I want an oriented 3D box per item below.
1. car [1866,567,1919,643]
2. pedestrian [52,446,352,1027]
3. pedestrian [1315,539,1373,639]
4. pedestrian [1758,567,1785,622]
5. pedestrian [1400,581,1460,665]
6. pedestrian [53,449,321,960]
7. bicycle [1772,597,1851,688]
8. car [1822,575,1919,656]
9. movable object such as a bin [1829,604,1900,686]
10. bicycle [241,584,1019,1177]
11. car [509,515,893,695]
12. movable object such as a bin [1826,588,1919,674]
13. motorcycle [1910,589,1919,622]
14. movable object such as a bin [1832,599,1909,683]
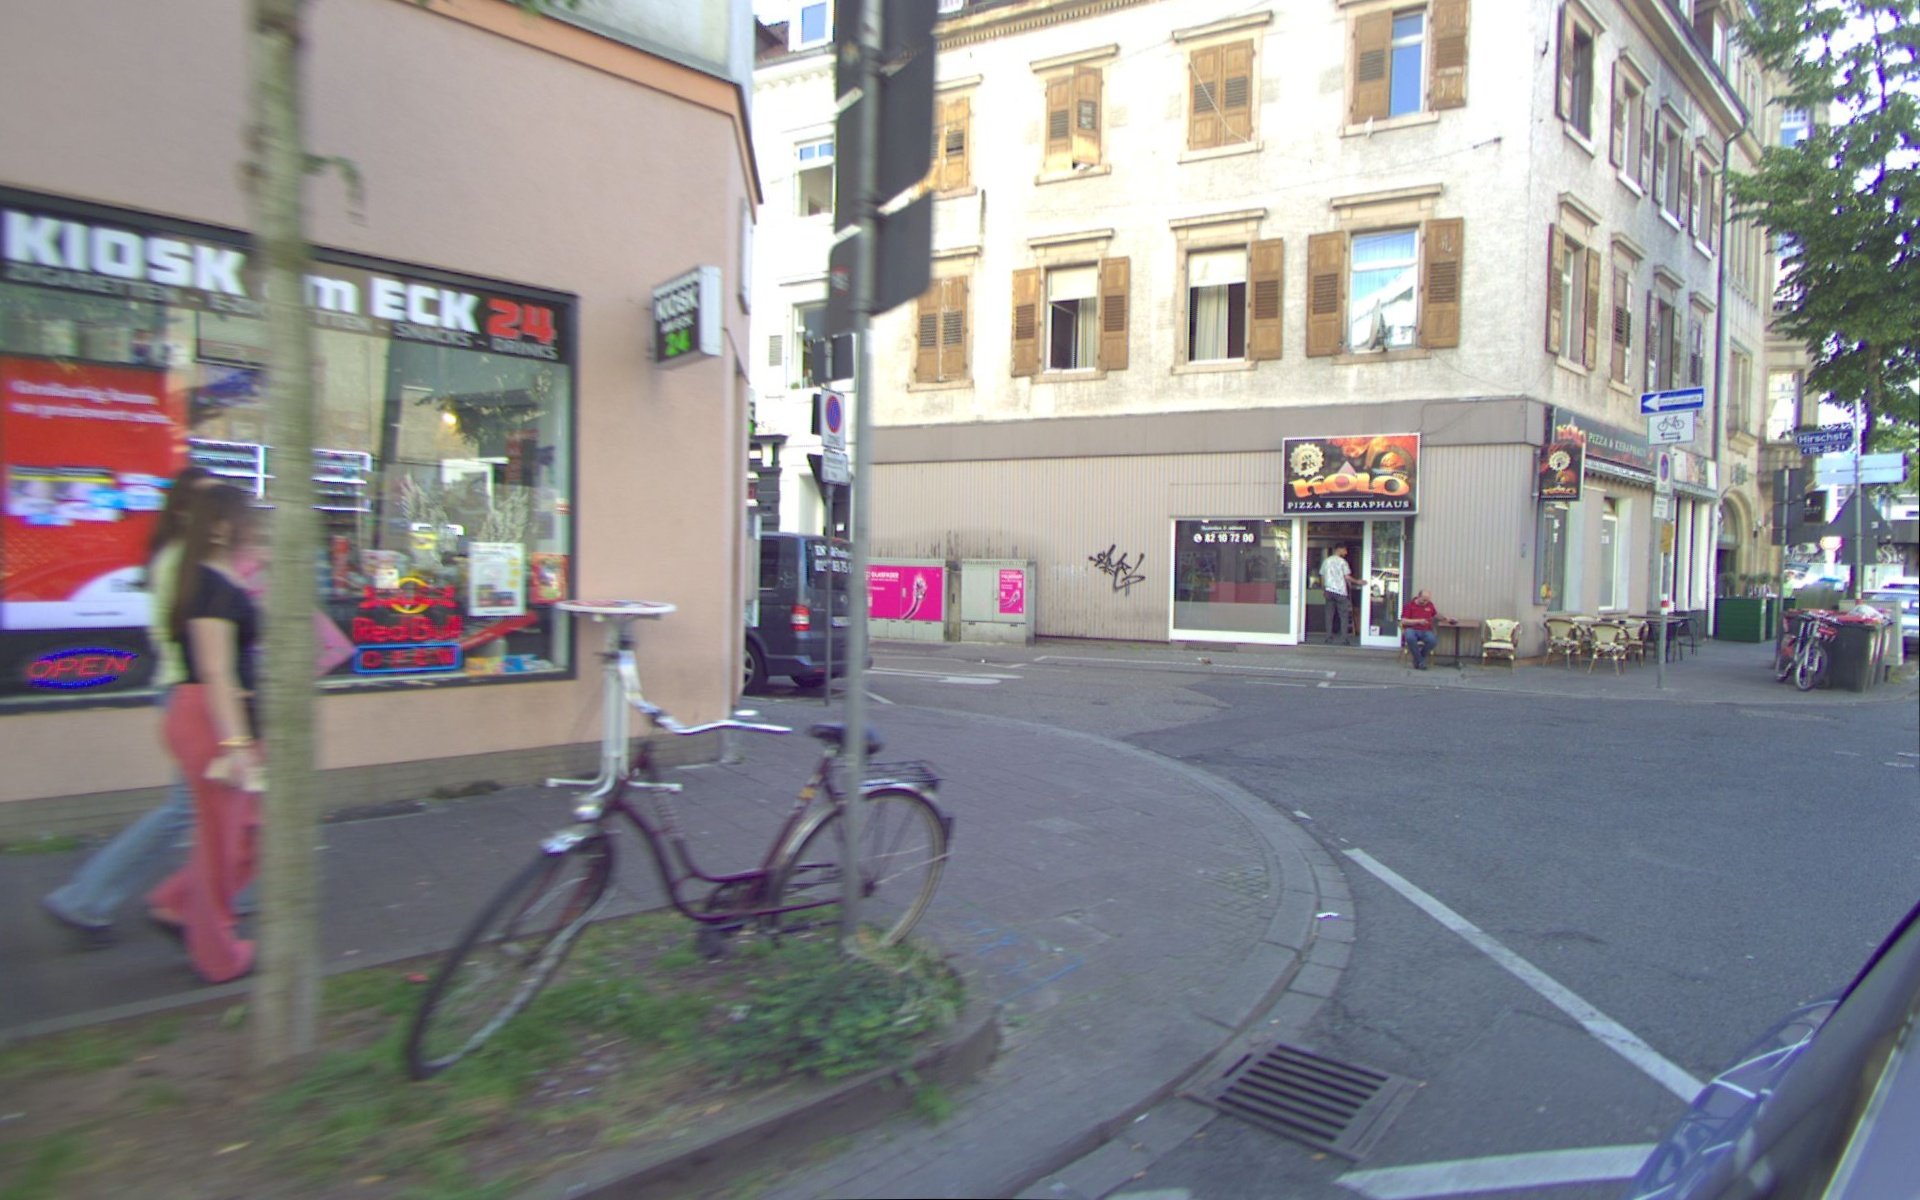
[{"bbox_3d":[23.070,0.117,23.946,4.086,1.670,1.835,-1,4,-41],"label":"car"},{"bbox_3d":[-2.471,0.376,3.313,0.736,1.665,0.514,0,4,-42],"label":"pedestrian"},{"bbox_3d":[6.720,-0.212,17.765,0.787,1.716,0.706,1,4,10],"label":"pedestrian"},{"bbox_3d":[21.783,-0.151,27.160,0.512,1.460,0.460,-1,2,-42],"label":"pedestrian"},{"bbox_3d":[7.517,0.356,16.197,0.701,1.274,0.589,1,4,10],"label":"pedestrian"},{"bbox_3d":[-2.866,0.320,3.761,0.736,1.665,0.643,0,4,-42],"label":"pedestrian"},{"bbox_3d":[12.448,0.587,14.836,0.374,1.159,1.660,3,4,24],"label":"bicycle"},{"bbox_3d":[19.092,0.276,20.521,4.087,1.435,1.834,-1,4,-42],"label":"car"},{"bbox_3d":[12.943,0.626,14.489,0.591,1.080,0.635,-3,5,-39],"label":"movable object such as a bin"},{"bbox_3d":[-0.763,0.554,2.923,2.108,1.178,0.508,-1,3,-42],"label":"bicycle"},{"bbox_3d":[-3.280,-0.029,12.807,4.444,1.941,1.927,2,1,23],"label":"car"},{"bbox_3d":[14.025,0.452,15.555,0.686,1.228,0.944,-2,4,-39],"label":"movable object such as a bin"},{"bbox_3d":[33.595,0.233,33.733,2.638,1.091,0.951,3,2,35],"label":"motorcycle"},{"bbox_3d":[13.434,0.584,14.933,0.591,1.170,0.722,0,2,-38],"label":"movable object such as a bin"}]
